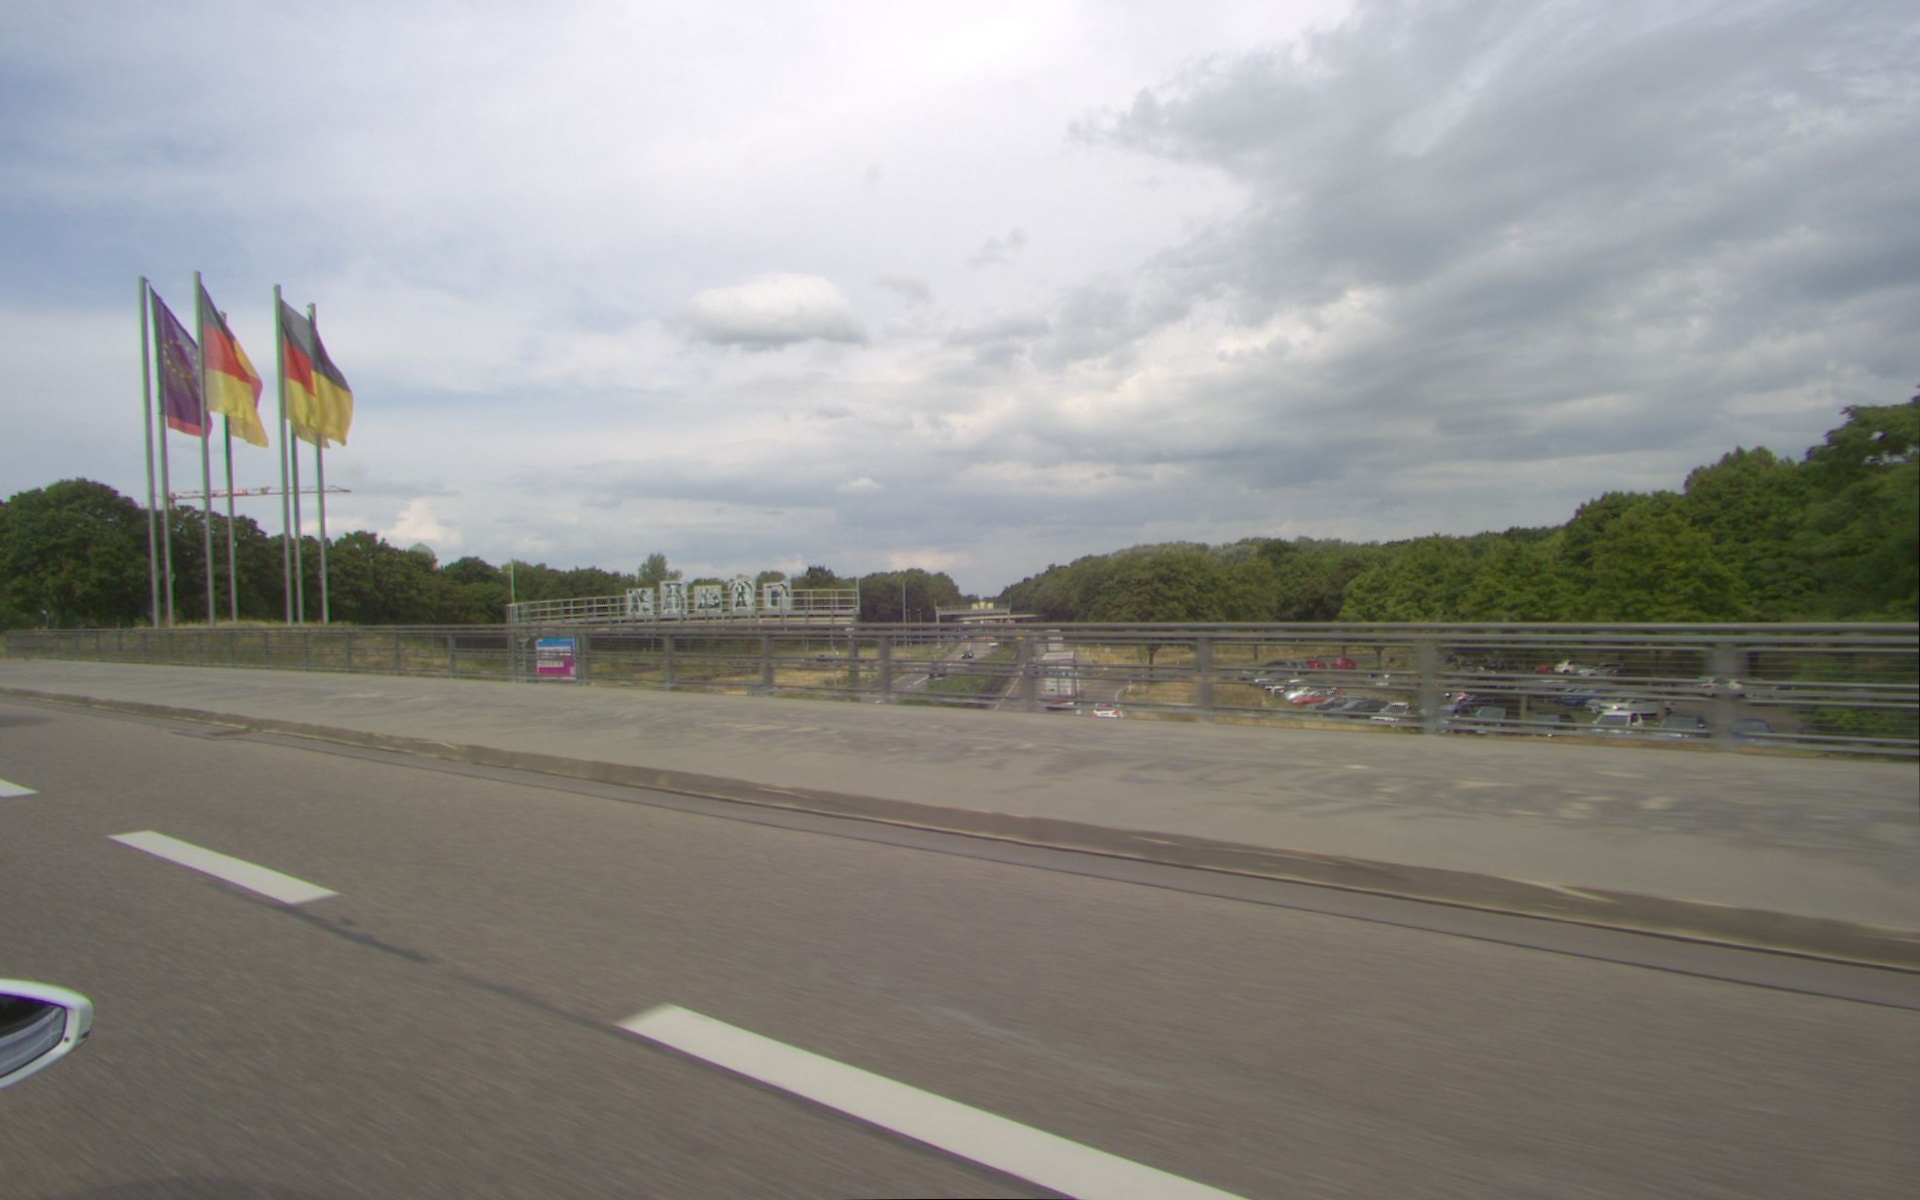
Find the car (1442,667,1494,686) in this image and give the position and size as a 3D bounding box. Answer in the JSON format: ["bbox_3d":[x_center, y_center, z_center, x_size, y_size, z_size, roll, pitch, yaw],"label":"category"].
[{"bbox_3d":[46.577,7.035,91.838,3.926,1.594,1.998,0,-1,14],"label":"car"}]

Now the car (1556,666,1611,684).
[{"bbox_3d":[58.871,7.055,94.591,3.925,1.594,1.999,0,-1,13],"label":"car"}]

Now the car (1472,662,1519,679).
[{"bbox_3d":[54.730,7.244,102.397,3.926,1.594,1.998,0,-1,14],"label":"car"}]

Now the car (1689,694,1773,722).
[{"bbox_3d":[48.368,6.763,62.857,3.924,1.594,1.999,0,-1,-9],"label":"car"}]

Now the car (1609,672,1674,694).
[{"bbox_3d":[56.228,6.820,82.691,3.925,1.594,1.999,0,-1,13],"label":"car"}]

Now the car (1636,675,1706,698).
[{"bbox_3d":[55.048,6.718,77.591,3.925,1.594,1.999,0,-1,13],"label":"car"}]

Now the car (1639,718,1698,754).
[{"bbox_3d":[41.009,7.840,57.944,3.959,1.594,1.982,1,-1,-42],"label":"car"}]

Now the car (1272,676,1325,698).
[{"bbox_3d":[27.561,7.114,81.714,3.926,1.594,1.998,0,-1,14],"label":"car"}]

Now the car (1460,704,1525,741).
[{"bbox_3d":[29.424,6.714,55.268,3.959,1.594,1.982,1,-1,-42],"label":"car"}]

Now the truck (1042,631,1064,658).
[{"bbox_3d":[16.659,7.823,178.063,3.778,4.519,12.655,0,-1,6],"label":"truck"}]

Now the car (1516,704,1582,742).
[{"bbox_3d":[31.573,6.548,53.645,3.959,1.594,1.982,1,-1,-42],"label":"car"}]

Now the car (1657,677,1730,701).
[{"bbox_3d":[54.779,6.666,74.853,3.925,1.594,1.999,0,-1,13],"label":"car"}]

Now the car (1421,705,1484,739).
[{"bbox_3d":[28.433,7.000,57.779,3.959,1.594,1.982,1,-1,-42],"label":"car"}]

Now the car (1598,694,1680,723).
[{"bbox_3d":[42.289,6.755,62.400,3.924,1.594,1.999,0,-1,-9],"label":"car"}]

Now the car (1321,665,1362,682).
[{"bbox_3d":[41.281,7.937,108.356,3.926,1.594,1.998,0,-1,14],"label":"car"}]

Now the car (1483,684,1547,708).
[{"bbox_3d":[43.338,7.481,78.281,3.926,1.594,1.998,0,-1,14],"label":"car"}]

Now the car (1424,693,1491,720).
[{"bbox_3d":[35.231,7.539,71.056,3.926,1.594,1.998,0,-1,14],"label":"car"}]

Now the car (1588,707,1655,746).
[{"bbox_3d":[34.232,6.512,51.800,3.959,1.594,1.982,1,-1,-42],"label":"car"}]

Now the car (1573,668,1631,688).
[{"bbox_3d":[57.445,6.956,89.644,3.925,1.594,1.999,0,-1,12],"label":"car"}]

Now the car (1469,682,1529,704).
[{"bbox_3d":[43.890,7.545,81.566,3.926,1.594,1.998,0,-1,14],"label":"car"}]

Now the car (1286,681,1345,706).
[{"bbox_3d":[26.594,6.982,75.001,3.926,1.594,1.998,0,-1,14],"label":"car"}]

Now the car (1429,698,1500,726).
[{"bbox_3d":[34.192,7.593,67.980,3.926,1.594,1.998,0,-1,14],"label":"car"}]

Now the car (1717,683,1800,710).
[{"bbox_3d":[53.852,6.522,67.605,3.925,1.594,1.999,0,-1,13],"label":"car"}]

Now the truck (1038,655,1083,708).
[{"bbox_3d":[8.754,6.767,85.629,3.293,3.665,13.993,0,-1,8],"label":"truck"}]

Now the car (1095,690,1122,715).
[{"bbox_3d":[11.345,7.805,76.477,1.725,1.616,4.001,0,-1,4],"label":"car"}]

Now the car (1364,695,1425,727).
[{"bbox_3d":[26.269,6.684,60.488,3.959,1.594,1.982,1,-1,-42],"label":"car"}]

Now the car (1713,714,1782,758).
[{"bbox_3d":[37.522,6.436,47.706,3.959,1.594,1.982,1,-1,-42],"label":"car"}]

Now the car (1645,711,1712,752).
[{"bbox_3d":[35.756,6.478,49.797,3.959,1.594,1.982,1,-1,-42],"label":"car"}]

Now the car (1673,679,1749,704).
[{"bbox_3d":[54.119,6.610,72.247,3.925,1.594,1.999,0,-1,13],"label":"car"}]

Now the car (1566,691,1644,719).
[{"bbox_3d":[41.940,6.809,65.132,3.924,1.594,1.999,0,-1,-9],"label":"car"}]

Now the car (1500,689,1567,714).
[{"bbox_3d":[43.044,7.621,75.240,3.926,1.594,1.998,0,-1,14],"label":"car"}]

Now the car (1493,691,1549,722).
[{"bbox_3d":[35.546,6.706,63.377,3.959,1.594,1.982,1,-1,-42],"label":"car"}]

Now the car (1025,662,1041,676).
[{"bbox_3d":[8.686,8.225,119.755,1.790,1.527,4.001,0,-1,2],"label":"car"}]
